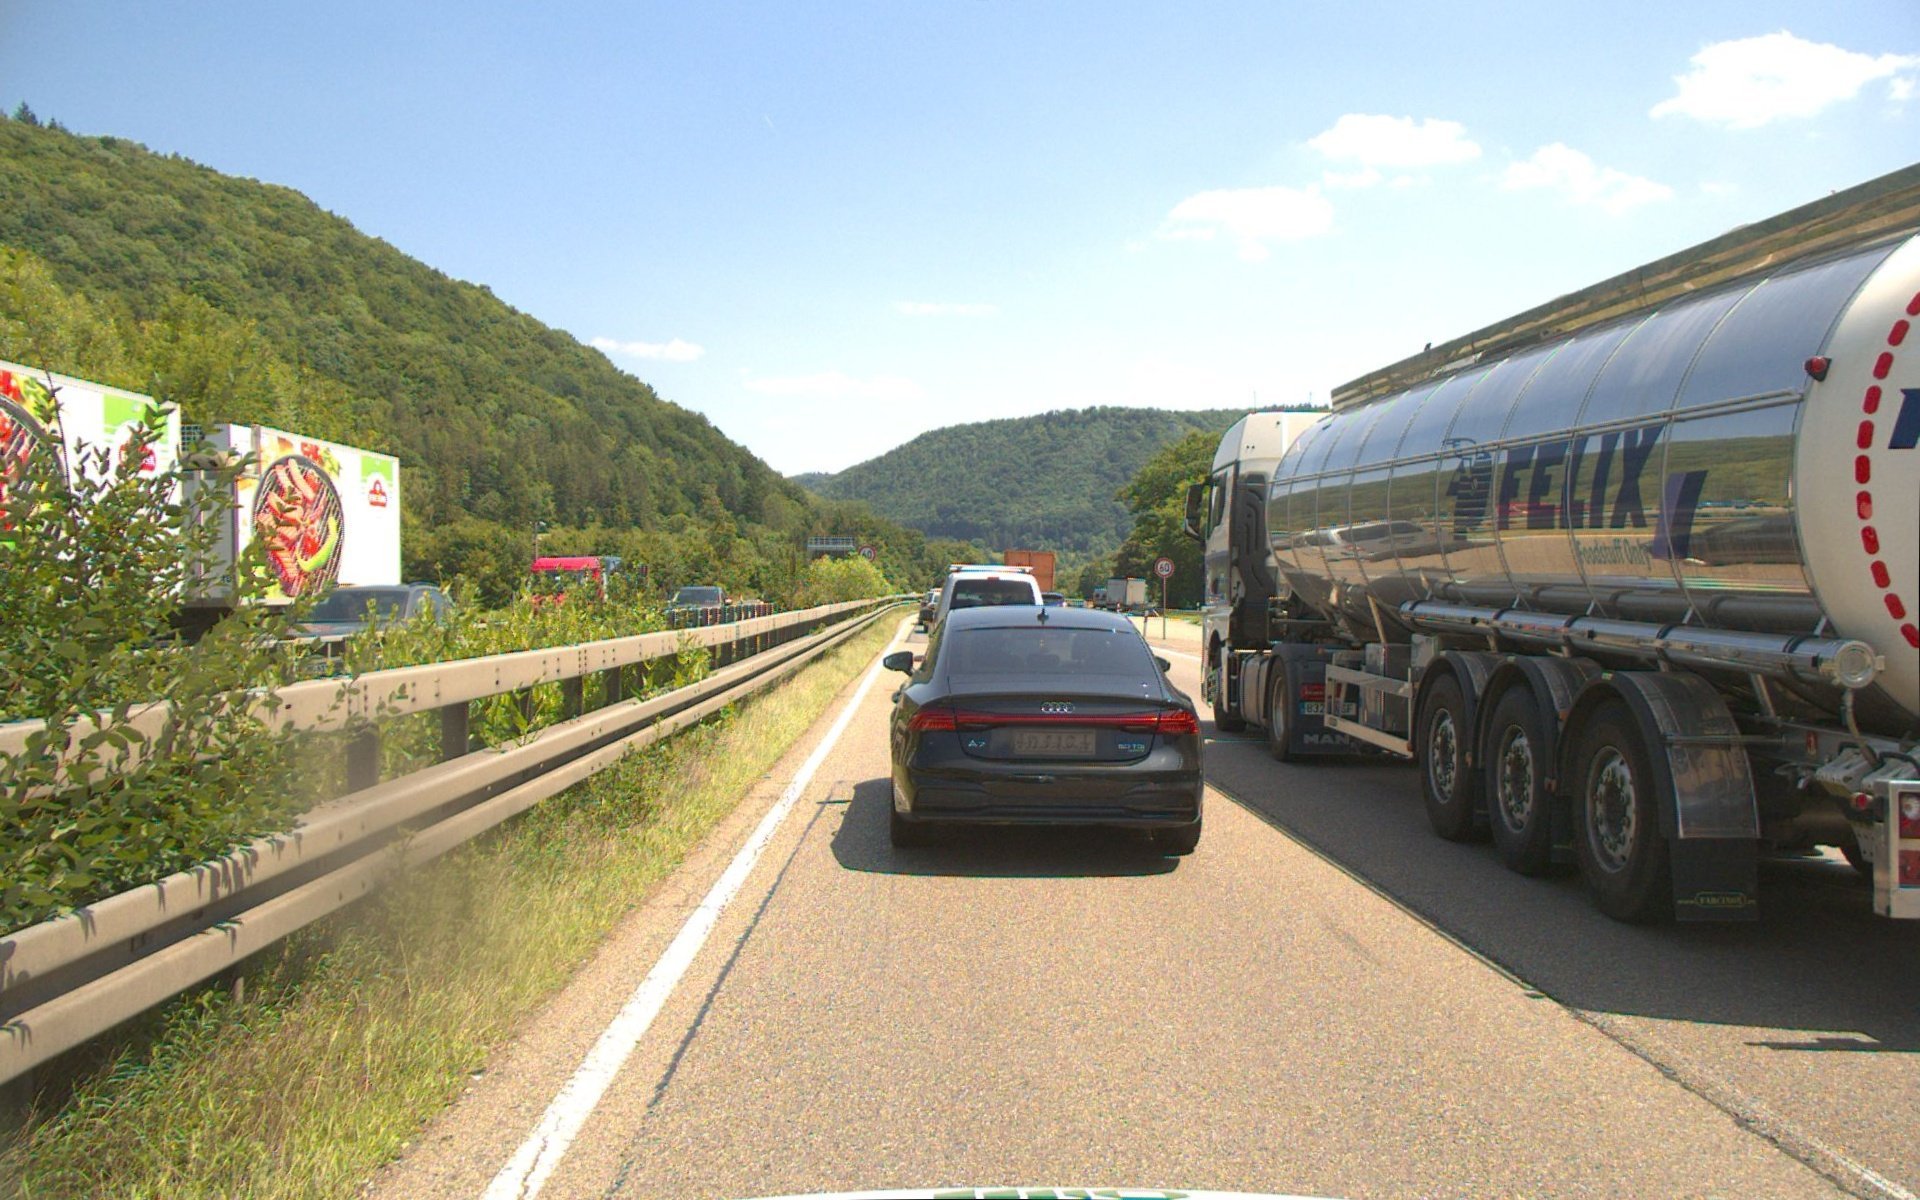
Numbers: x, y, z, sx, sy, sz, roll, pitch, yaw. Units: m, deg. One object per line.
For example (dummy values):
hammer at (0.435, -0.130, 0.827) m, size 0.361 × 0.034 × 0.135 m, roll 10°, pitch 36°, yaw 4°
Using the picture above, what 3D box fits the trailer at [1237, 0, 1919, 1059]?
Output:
trailer at (4.320, -0.390, 11.478) m, size 2.487 × 3.801 × 11.888 m, roll 1°, pitch 0°, yaw -1°

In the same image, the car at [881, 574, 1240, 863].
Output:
car at (0.443, 0.617, 10.781) m, size 1.813 × 1.514 × 4.079 m, roll 1°, pitch 0°, yaw -4°

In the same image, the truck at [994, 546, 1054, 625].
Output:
truck at (3.500, -0.794, 93.362) m, size 2.760 × 4.073 × 14.954 m, roll 1°, pitch 0°, yaw 0°

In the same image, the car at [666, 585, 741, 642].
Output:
car at (-7.645, 0.385, 49.536) m, size 1.741 × 1.627 × 3.998 m, roll 0°, pitch 0°, yaw -2°

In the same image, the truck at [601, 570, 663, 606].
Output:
truck at (-25.794, -0.934, 130.512) m, size 3.509 × 2.742 × 8.444 m, roll 0°, pitch 0°, yaw -2°

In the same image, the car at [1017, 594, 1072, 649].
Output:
car at (3.265, 0.814, 64.766) m, size 1.952 × 2.037 × 4.000 m, roll 0°, pitch 0°, yaw 0°

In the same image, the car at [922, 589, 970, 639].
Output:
car at (-0.609, 0.581, 70.101) m, size 1.953 × 2.049 × 3.999 m, roll 0°, pitch 0°, yaw -1°

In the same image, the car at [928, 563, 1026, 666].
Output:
car at (0.312, 0.281, 35.131) m, size 1.953 × 2.049 × 3.999 m, roll 1°, pitch 0°, yaw -1°

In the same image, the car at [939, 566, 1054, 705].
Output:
car at (0.473, 0.472, 24.493) m, size 1.544 × 1.865 × 3.999 m, roll 1°, pitch 0°, yaw -1°

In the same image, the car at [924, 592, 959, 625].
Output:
car at (-0.931, 0.399, 84.131) m, size 1.677 × 1.646 × 4.000 m, roll 0°, pitch 0°, yaw 0°

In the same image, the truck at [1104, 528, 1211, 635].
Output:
truck at (8.225, -0.749, 70.834) m, size 2.760 × 4.073 × 14.954 m, roll 1°, pitch 0°, yaw 0°

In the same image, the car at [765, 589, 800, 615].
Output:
car at (-11.706, 0.116, 109.266) m, size 1.883 × 1.649 × 4.560 m, roll 0°, pitch 0°, yaw -1°

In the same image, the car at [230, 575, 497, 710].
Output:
car at (-8.168, 0.520, 23.213) m, size 1.953 × 1.670 × 5.031 m, roll 1°, pitch 0°, yaw -1°

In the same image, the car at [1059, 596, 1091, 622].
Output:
car at (7.026, 0.535, 101.321) m, size 1.711 × 1.557 × 4.000 m, roll 0°, pitch 0°, yaw 1°

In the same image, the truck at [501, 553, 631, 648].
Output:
truck at (-11.746, -0.009, 49.968) m, size 2.250 × 2.633 × 7.964 m, roll 1°, pitch 0°, yaw -2°

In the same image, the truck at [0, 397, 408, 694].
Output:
truck at (-11.955, -0.773, 27.279) m, size 2.811 × 4.050 × 9.029 m, roll 1°, pitch 0°, yaw -1°

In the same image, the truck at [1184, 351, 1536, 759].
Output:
truck at (4.137, -0.435, 18.246) m, size 2.461 × 3.824 × 5.244 m, roll 1°, pitch 0°, yaw -2°

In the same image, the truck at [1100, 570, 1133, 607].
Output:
truck at (19.939, -1.495, 210.287) m, size 3.713 × 4.491 × 14.967 m, roll 1°, pitch 0°, yaw 7°

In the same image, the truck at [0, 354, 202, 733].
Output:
truck at (-11.742, -0.620, 17.619) m, size 2.811 × 4.076 × 10.168 m, roll 1°, pitch 0°, yaw -1°
